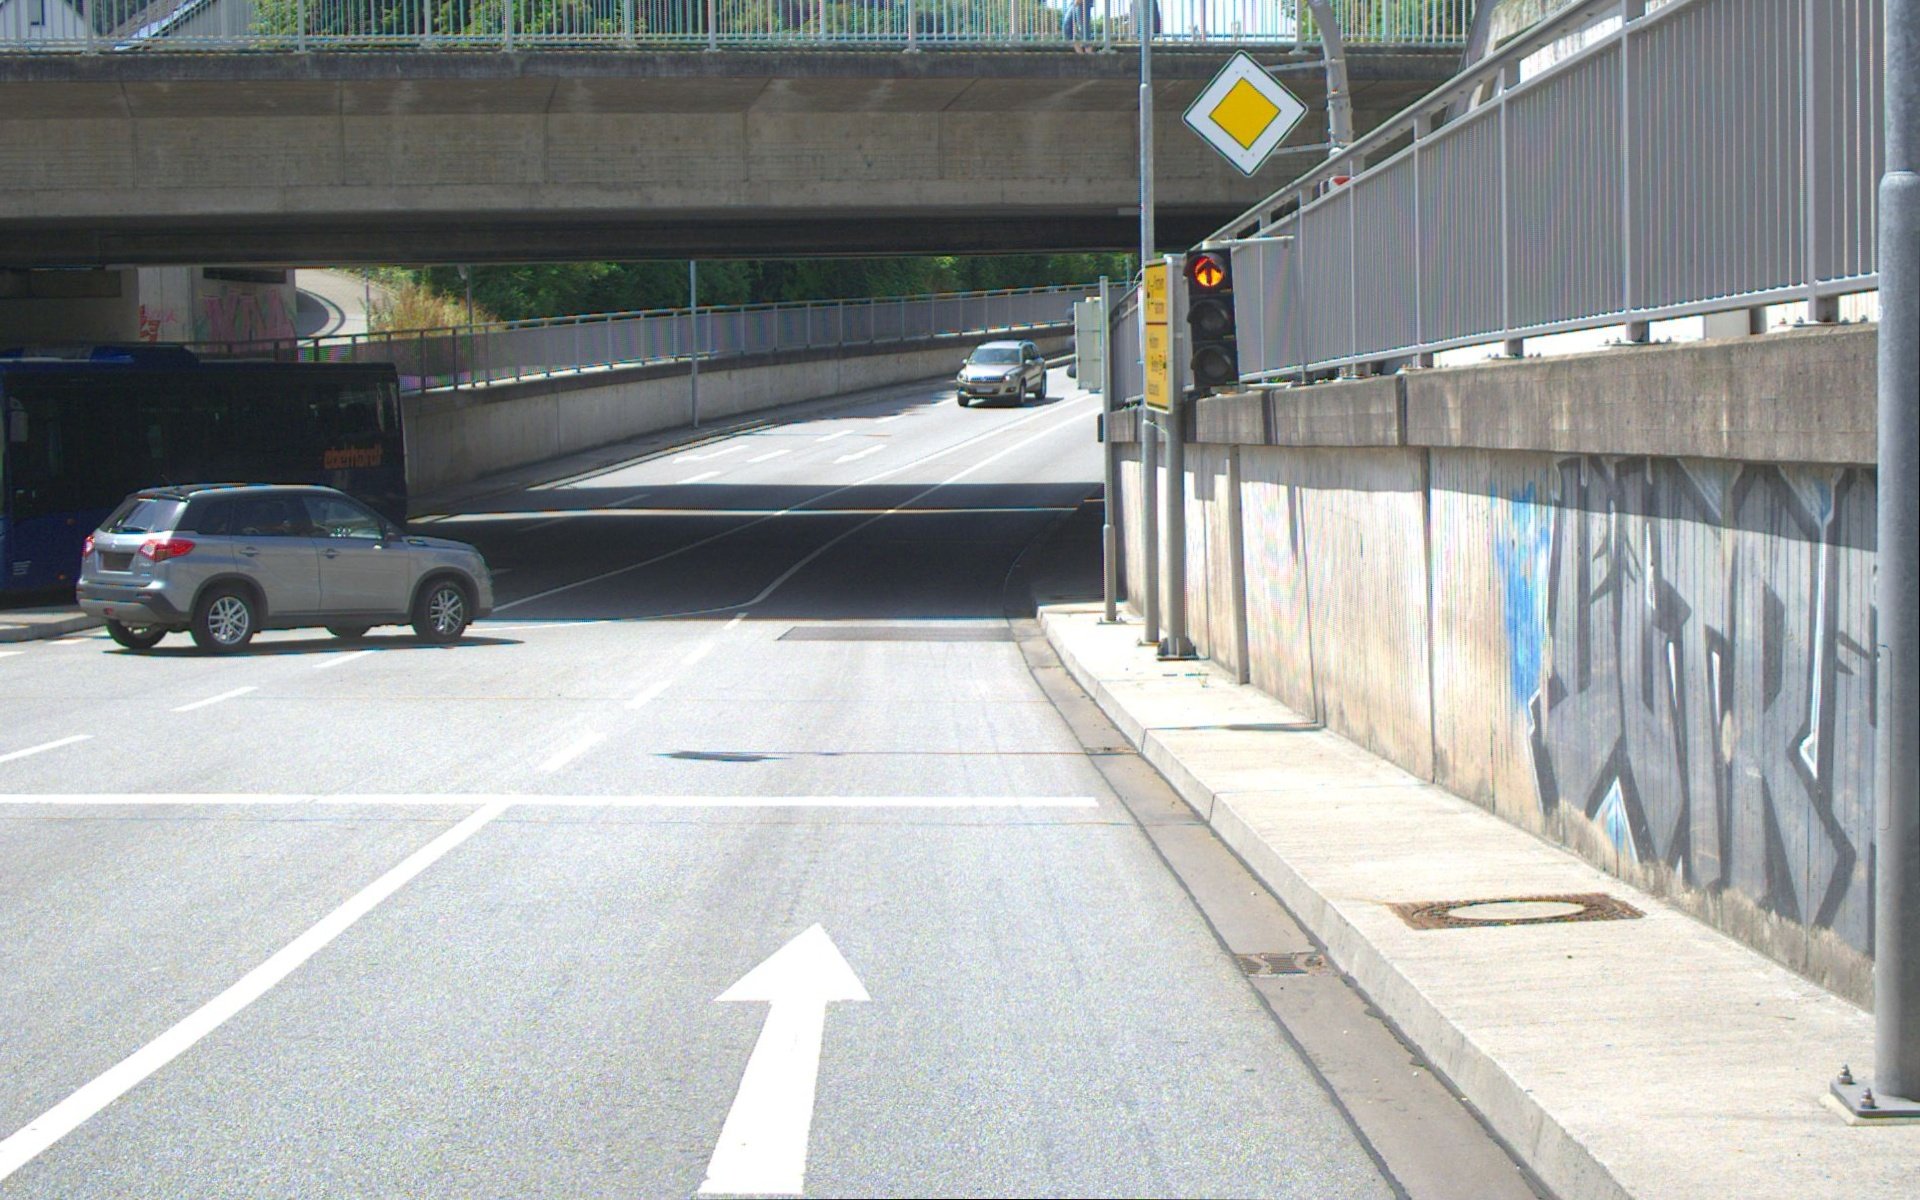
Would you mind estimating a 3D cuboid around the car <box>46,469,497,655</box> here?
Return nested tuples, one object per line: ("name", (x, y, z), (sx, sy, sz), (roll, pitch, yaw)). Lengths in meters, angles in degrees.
("car", (-6.707, -0.429, 33.755), (3.990, 1.612, 1.809), (-3, 5, -45))

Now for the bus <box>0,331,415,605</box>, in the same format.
("bus", (-10.896, -1.942, 46.073), (2.582, 3.161, 12.372), (1, 4, 13))

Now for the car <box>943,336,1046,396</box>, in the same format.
("car", (0.978, -6.444, 94.714), (1.995, 1.621, 3.998), (1, 4, 14))

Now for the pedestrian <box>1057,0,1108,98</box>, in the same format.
("pedestrian", (1.534, -7.414, 43.423), (0.539, 2.074, 0.535), (-1, 2, -7))
